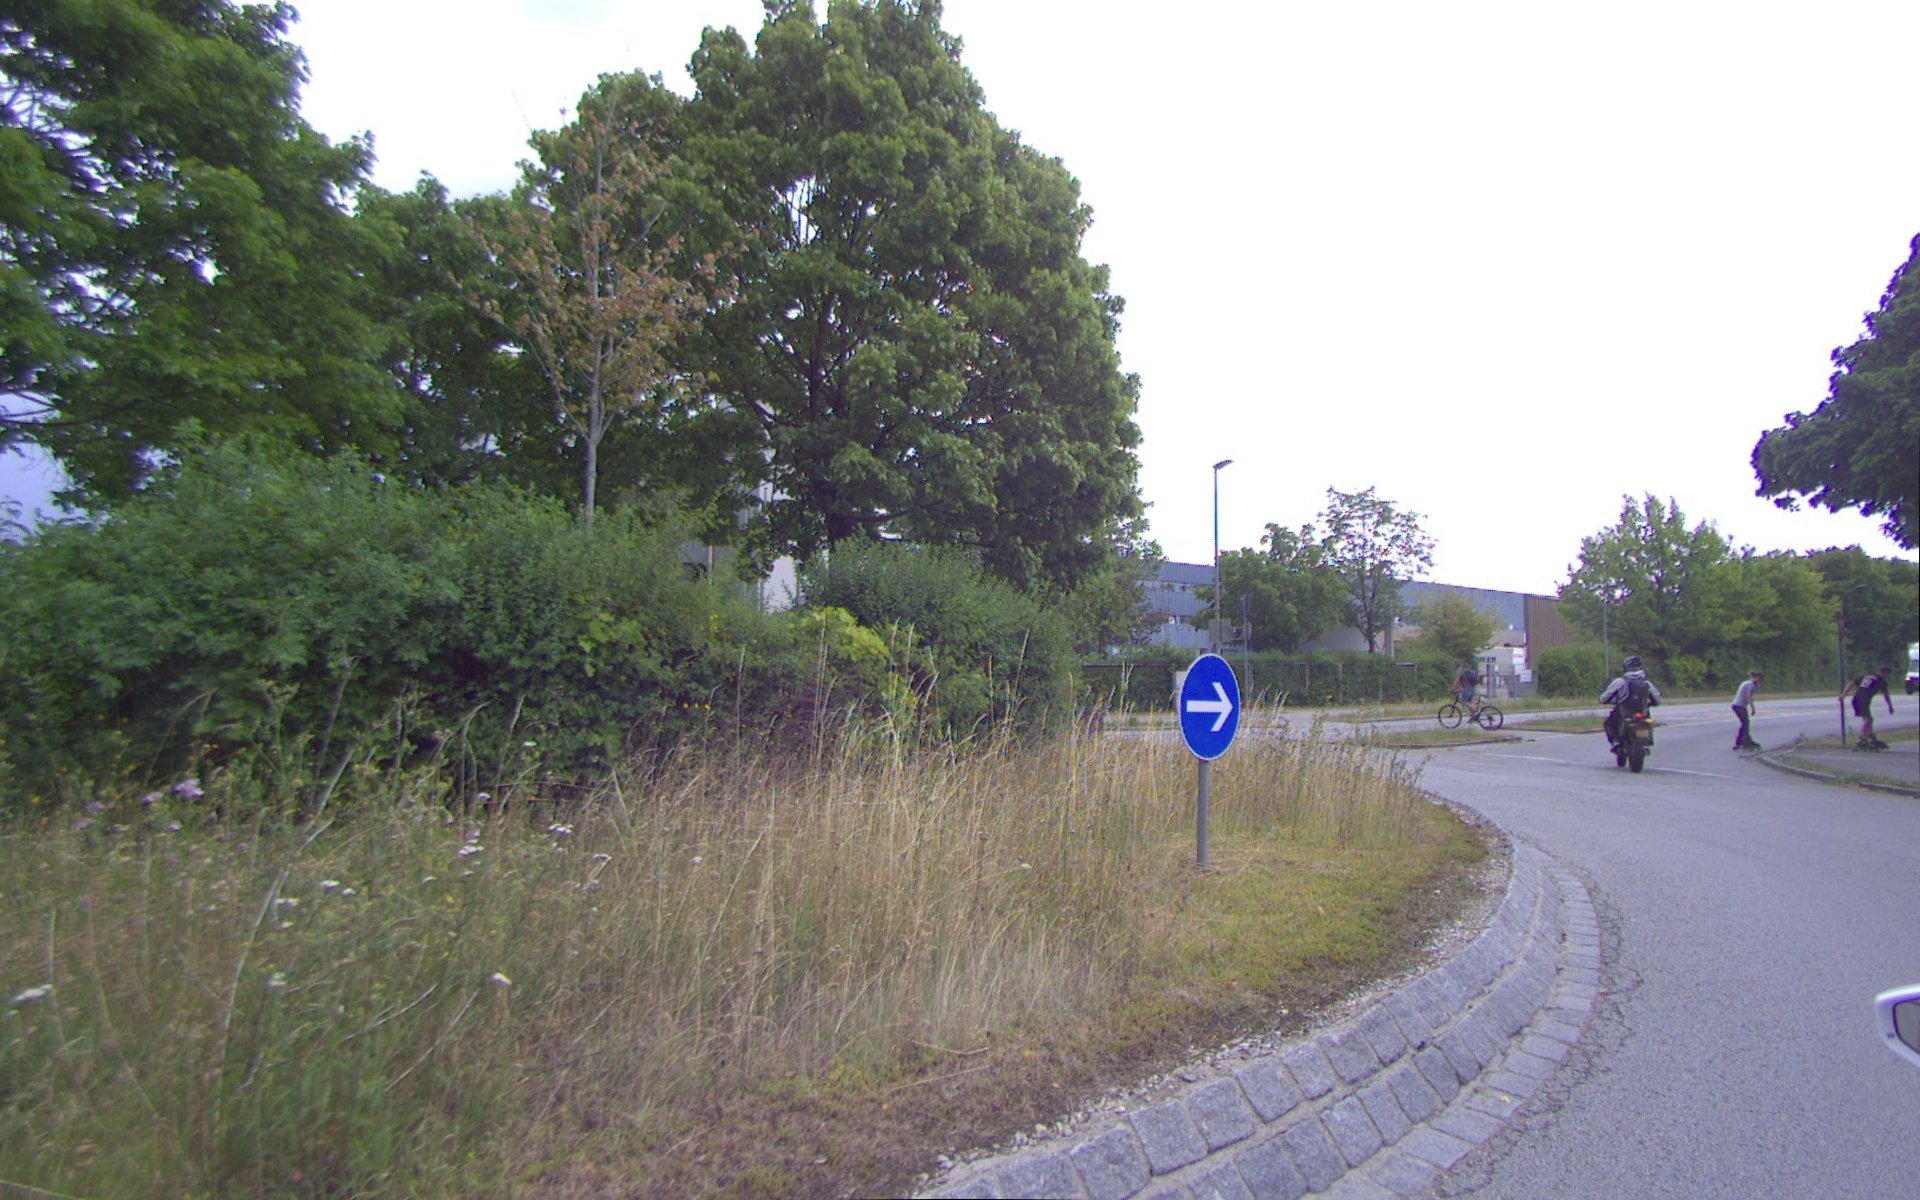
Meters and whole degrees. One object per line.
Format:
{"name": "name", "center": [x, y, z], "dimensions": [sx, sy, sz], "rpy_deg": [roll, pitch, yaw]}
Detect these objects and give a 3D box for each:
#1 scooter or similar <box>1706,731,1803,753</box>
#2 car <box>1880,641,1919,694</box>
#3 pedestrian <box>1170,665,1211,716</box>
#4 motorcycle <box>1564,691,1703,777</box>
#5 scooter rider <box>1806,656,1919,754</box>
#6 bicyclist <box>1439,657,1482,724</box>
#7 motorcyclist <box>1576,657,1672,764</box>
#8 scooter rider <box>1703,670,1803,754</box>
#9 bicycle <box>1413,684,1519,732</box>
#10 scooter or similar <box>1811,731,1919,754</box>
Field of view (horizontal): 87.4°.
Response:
{"name": "scooter or similar", "center": [16.712, 2.986, 21.169], "dimensions": [1.203, 0.368, 1.101], "rpy_deg": [0, -4, 5]}
{"name": "car", "center": [61.718, 4.307, 63.766], "dimensions": [7.554, 3.246, 3.152], "rpy_deg": [3, -5, -34]}
{"name": "pedestrian", "center": [7.302, 2.845, 31.799], "dimensions": [1.035, 1.564, 0.780], "rpy_deg": [3, -4, -36]}
{"name": "motorcycle", "center": [10.622, 2.077, 15.985], "dimensions": [0.881, 1.173, 2.623], "rpy_deg": [0, -4, 12]}
{"name": "scooter rider", "center": [18.547, 2.134, 20.674], "dimensions": [1.108, 1.934, 1.224], "rpy_deg": [0, -5, -11]}
{"name": "bicyclist", "center": [13.629, 2.457, 27.338], "dimensions": [0.905, 1.745, 0.656], "rpy_deg": [0, -2, 39]}
{"name": "motorcyclist", "center": [10.633, 1.739, 16.131], "dimensions": [0.846, 1.644, 1.192], "rpy_deg": [0, -3, 11]}
{"name": "scooter rider", "center": [16.717, 2.333, 21.216], "dimensions": [1.220, 1.694, 1.101], "rpy_deg": [0, -3, 6]}
{"name": "bicycle", "center": [13.711, 2.915, 27.253], "dimensions": [2.468, 1.103, 0.768], "rpy_deg": [0, -3, 39]}
{"name": "scooter or similar", "center": [18.550, 2.917, 20.615], "dimensions": [1.108, 0.385, 1.224], "rpy_deg": [0, -5, -12]}
